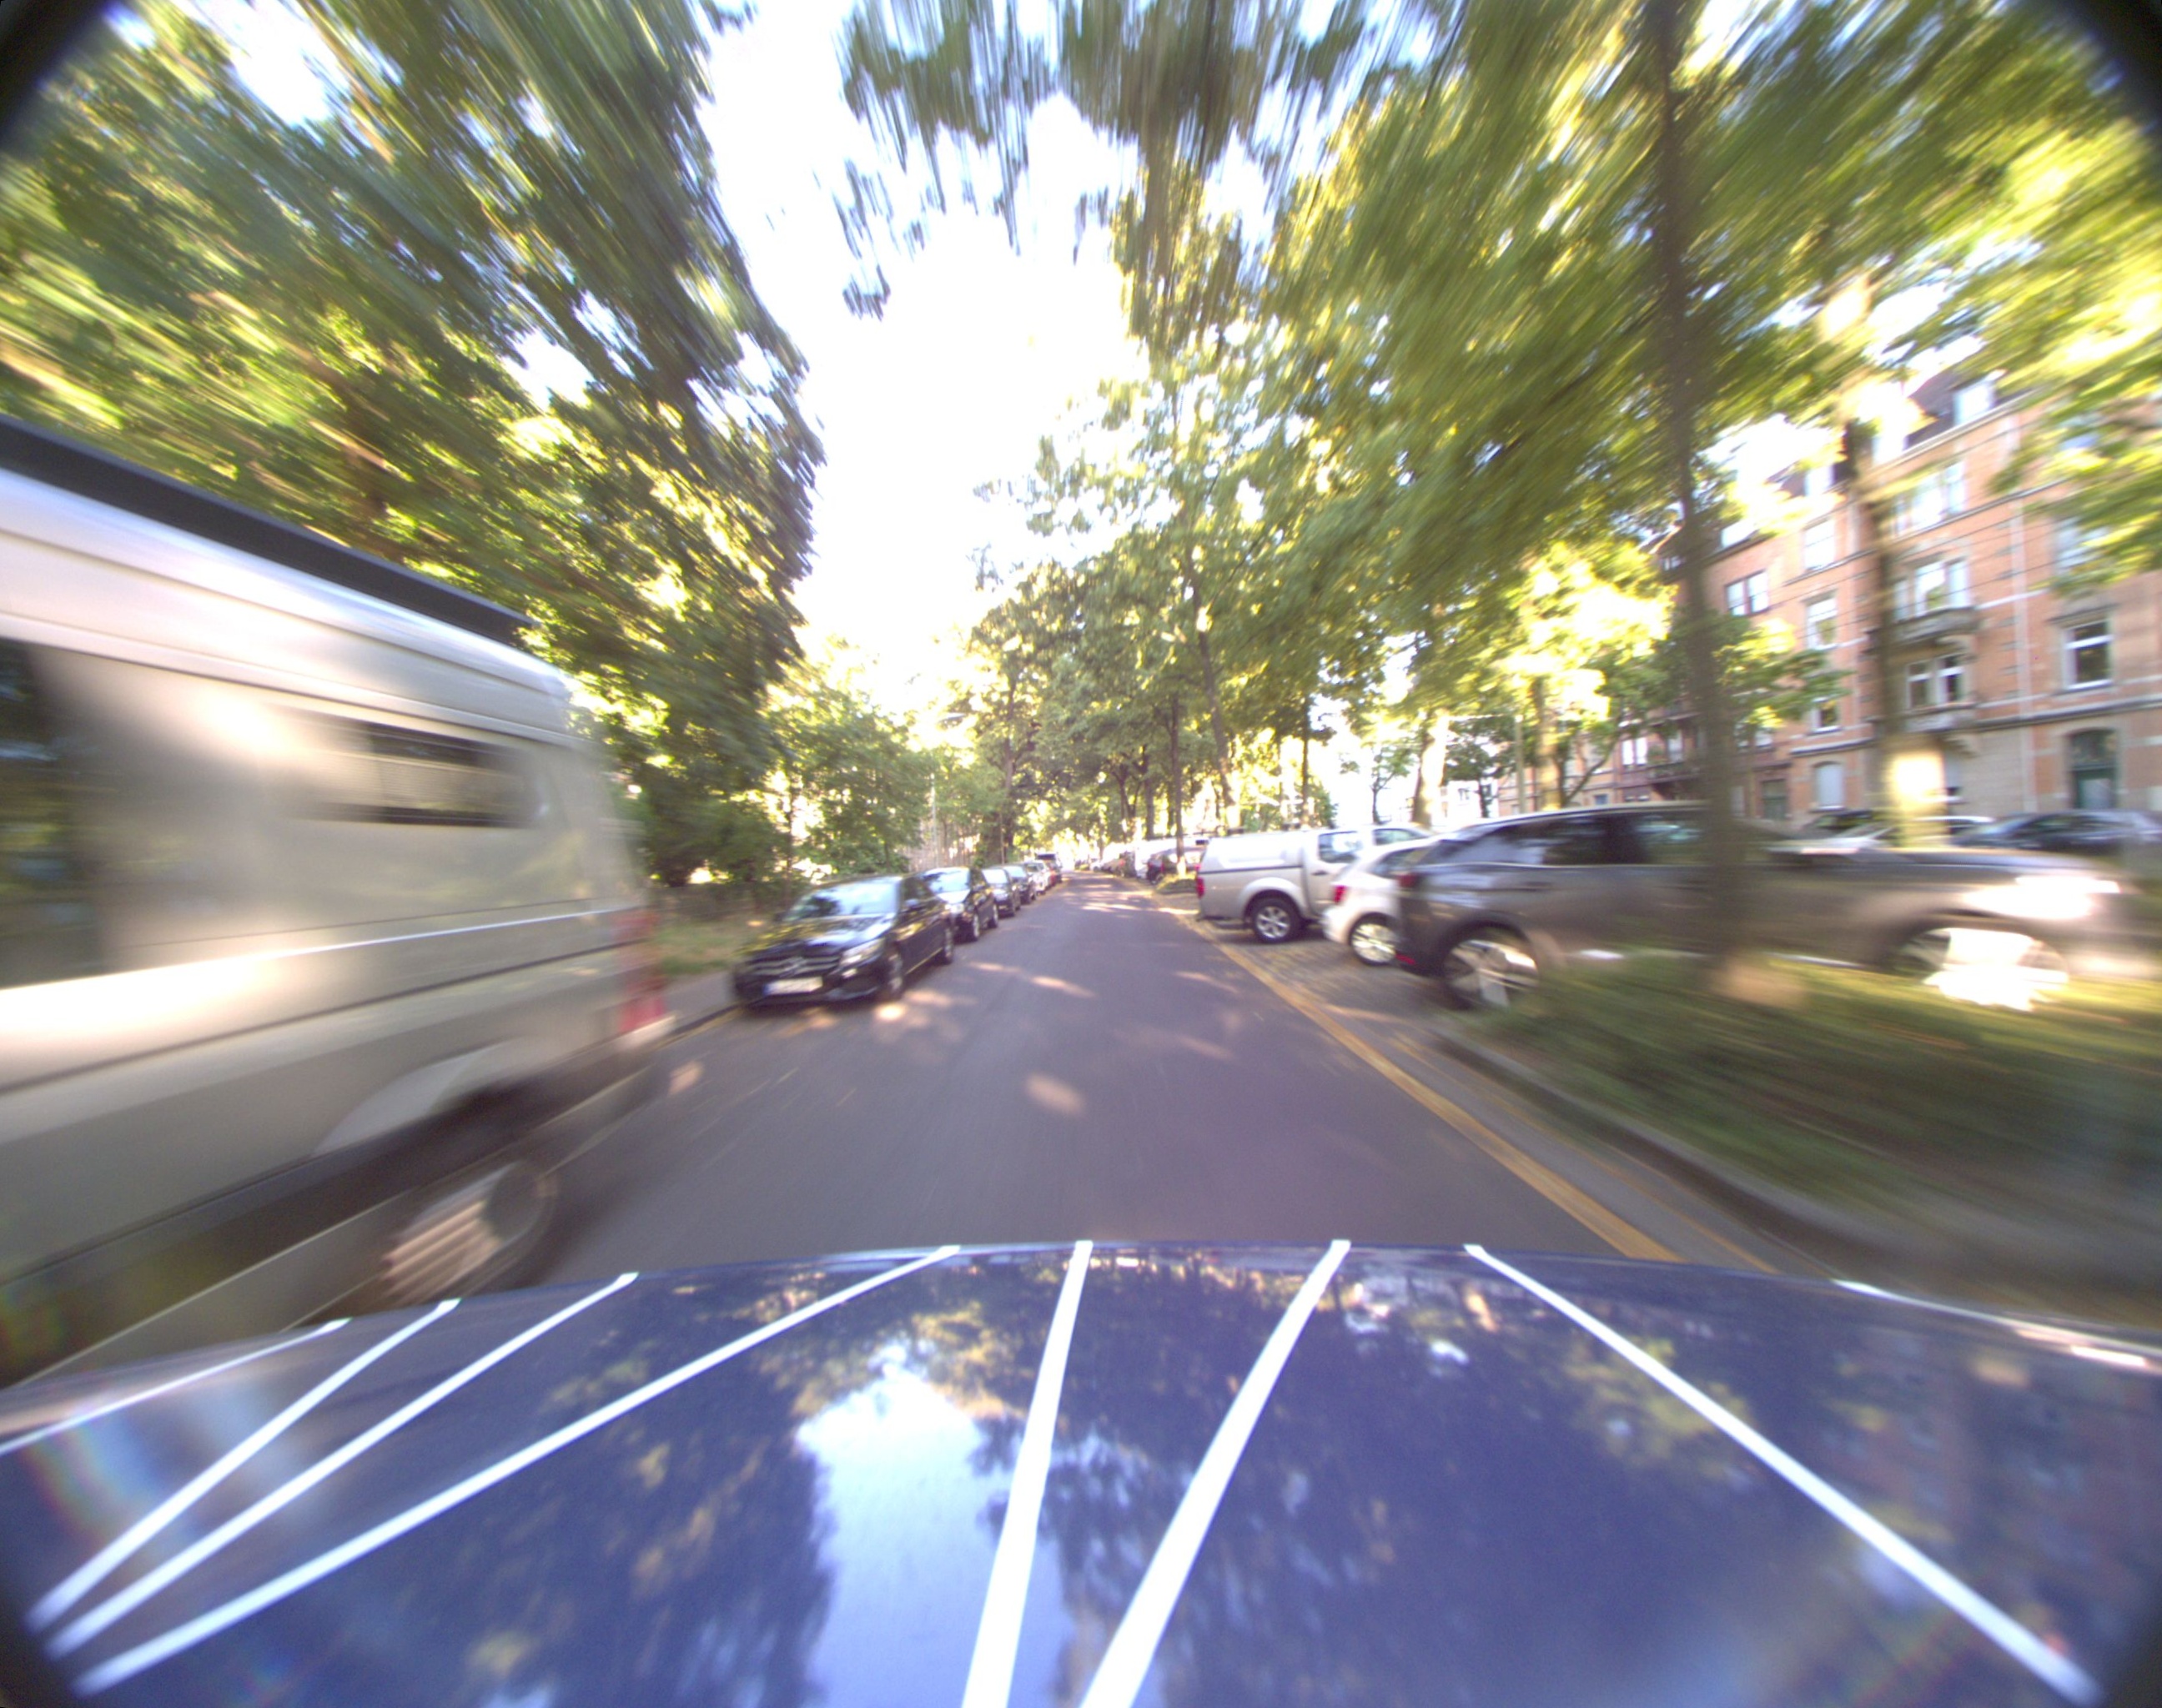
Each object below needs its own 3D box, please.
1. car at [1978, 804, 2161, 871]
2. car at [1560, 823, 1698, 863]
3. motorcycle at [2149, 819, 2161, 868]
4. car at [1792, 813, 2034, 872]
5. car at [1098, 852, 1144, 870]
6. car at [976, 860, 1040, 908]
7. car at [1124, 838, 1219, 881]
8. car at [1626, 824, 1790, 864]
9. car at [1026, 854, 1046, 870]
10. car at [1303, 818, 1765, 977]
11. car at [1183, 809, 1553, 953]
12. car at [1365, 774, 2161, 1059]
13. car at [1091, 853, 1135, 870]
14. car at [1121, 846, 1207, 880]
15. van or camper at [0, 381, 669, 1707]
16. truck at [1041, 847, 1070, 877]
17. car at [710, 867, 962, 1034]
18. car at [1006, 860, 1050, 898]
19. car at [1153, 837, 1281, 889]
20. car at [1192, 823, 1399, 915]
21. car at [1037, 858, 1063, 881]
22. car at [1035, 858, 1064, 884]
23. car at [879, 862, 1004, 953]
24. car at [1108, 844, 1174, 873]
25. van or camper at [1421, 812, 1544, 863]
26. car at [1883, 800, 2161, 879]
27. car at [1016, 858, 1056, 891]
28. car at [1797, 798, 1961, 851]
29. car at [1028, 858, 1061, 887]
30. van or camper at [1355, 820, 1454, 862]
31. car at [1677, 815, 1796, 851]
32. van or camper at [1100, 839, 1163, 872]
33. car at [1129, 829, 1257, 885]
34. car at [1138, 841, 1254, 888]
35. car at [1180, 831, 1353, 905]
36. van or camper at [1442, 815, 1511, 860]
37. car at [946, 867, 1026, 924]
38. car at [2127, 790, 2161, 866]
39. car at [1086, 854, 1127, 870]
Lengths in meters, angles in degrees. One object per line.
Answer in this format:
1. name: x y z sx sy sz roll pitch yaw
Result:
1. car: 30.100 -0.461 22.876 1.856 1.772 3.508 -5 -1 -2
2. car: 21.261 -0.416 29.696 4.178 1.302 1.639 -3 0 29
3. motorcycle: 20.457 -0.227 13.200 1.972 0.884 1.022 -3 0 36
4. car: 21.706 -0.288 20.031 3.991 1.310 1.596 -3 0 20
5. car: 4.121 0.695 78.608 4.235 1.432 1.859 -6 0 25
6. car: -2.497 0.993 26.900 1.684 1.415 4.659 -3 0 1
7. car: 5.017 0.326 42.355 4.702 1.931 1.937 -6 0 33
8. car: 21.747 -0.330 26.565 4.194 1.161 1.502 -3 0 28
9. car: -5.948 1.050 100.315 1.972 1.924 5.451 -3 0 -10
10. car: 4.974 0.536 8.909 4.151 1.451 1.773 -6 0 28
11. car: 4.391 0.458 12.021 4.991 1.771 1.990 -6 0 28
12. car: 4.797 0.493 6.127 4.348 1.617 1.944 -6 0 28
13. car: 3.609 0.819 84.873 4.456 1.396 1.860 -6 -1 25
14. car: 4.903 0.540 45.251 4.561 1.532 1.938 -6 0 33
15. van or camper: -3.242 0.440 0.887 2.089 2.746 5.845 -3 0 1
16. truck: -2.260 0.675 66.647 2.302 2.372 6.932 -3 0 -2
17. car: -2.834 1.021 9.940 1.684 1.517 4.489 -3 0 1
18. car: -2.298 1.018 32.832 1.685 1.445 4.074 -3 0 -4
19. car: 5.342 0.369 30.016 4.509 1.607 1.857 -6 0 32
20. car: 5.010 0.380 17.975 4.150 1.771 1.887 -6 0 37
21. car: -2.157 1.073 53.477 1.677 1.445 3.948 -3 0 -1
22. car: -1.938 1.047 48.216 1.677 1.445 3.948 -3 0 -1
23. car: -2.761 0.999 15.981 1.684 1.517 4.287 -3 0 1
24. car: 5.000 0.362 63.405 4.875 1.966 2.048 -5 1 28
25. van or camper: 20.966 -0.818 39.894 5.538 2.357 2.311 -2 0 27
26. car: 21.537 -0.311 17.328 3.990 1.569 2.003 -2 0 25
27. car: -2.202 0.994 37.811 1.685 1.445 4.076 -3 0 0
28. car: 29.576 -1.035 28.359 1.856 1.772 4.023 -1 0 -2
29. car: -2.026 1.003 43.046 1.595 1.445 3.554 -3 0 0
30. van or camper: 20.672 -0.776 48.692 5.664 2.454 2.003 -2 0 24
31. car: 29.564 -0.898 34.452 1.856 1.522 4.023 -1 0 -2
32. van or camper: 4.450 0.155 66.693 4.875 2.456 2.048 -5 1 26
33. car: 5.289 0.156 36.140 5.502 2.124 2.084 -6 0 30
34. car: 5.021 0.462 33.210 4.510 1.607 1.937 -6 0 24
35. car: 5.111 0.406 21.101 4.150 1.635 1.918 -6 0 33
36. van or camper: 28.893 -1.166 55.738 2.080 3.091 5.513 0 0 -2
37. car: -2.556 1.088 21.254 1.685 1.275 4.287 -3 0 -1
38. car: 29.652 -0.782 18.741 1.999 2.001 4.000 -5 -1 -2
39. car: 2.955 0.880 87.650 4.305 1.396 1.746 -6 -1 22
